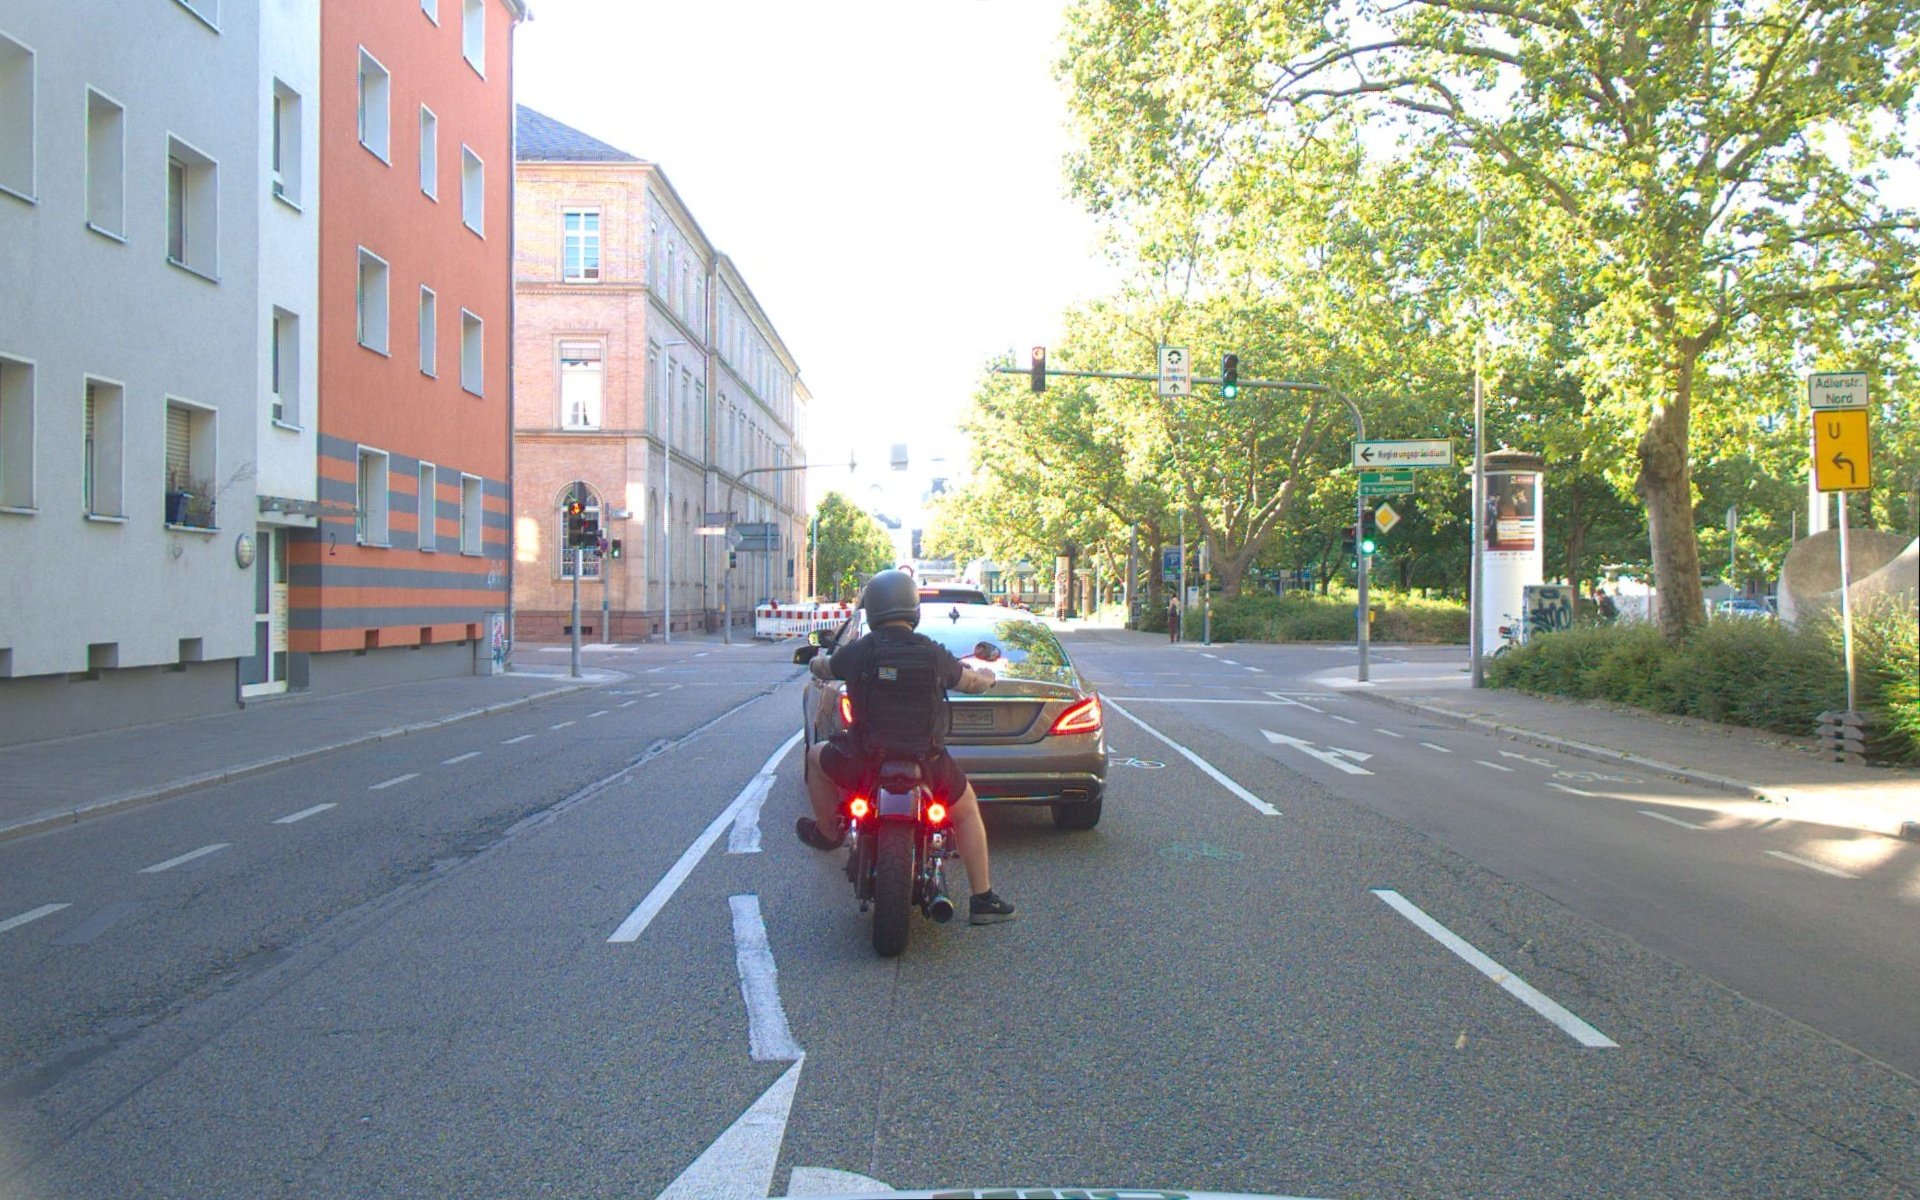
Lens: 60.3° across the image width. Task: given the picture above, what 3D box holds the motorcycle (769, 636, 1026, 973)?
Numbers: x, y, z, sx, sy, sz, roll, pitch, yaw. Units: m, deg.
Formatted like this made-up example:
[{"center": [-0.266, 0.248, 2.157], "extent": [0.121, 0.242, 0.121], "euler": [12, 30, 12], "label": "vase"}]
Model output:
[{"center": [-0.259, 0.821, 7.716], "extent": [0.987, 1.225, 2.664], "euler": [0, 0, -1], "label": "motorcycle"}]

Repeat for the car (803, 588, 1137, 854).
[{"center": [-0.132, 0.685, 11.651], "extent": [1.787, 1.502, 4.346], "euler": [0, 0, -7], "label": "car"}]

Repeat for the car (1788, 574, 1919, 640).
[{"center": [25.758, 0.182, 46.586], "extent": [3.912, 1.815, 2.001], "euler": [0, 0, 4], "label": "car"}]

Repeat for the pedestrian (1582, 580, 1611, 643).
[{"center": [18.645, 0.332, 48.426], "extent": [0.607, 1.815, 0.630], "euler": [0, 0, 1], "label": "pedestrian"}]

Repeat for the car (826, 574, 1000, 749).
[{"center": [-0.512, 0.580, 17.603], "extent": [1.647, 1.653, 3.839], "euler": [0, 0, -2], "label": "car"}]

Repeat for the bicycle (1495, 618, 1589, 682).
[{"center": [9.698, 0.832, 27.592], "extent": [1.387, 1.055, 0.538], "euler": [0, 0, -5], "label": "bicycle"}]

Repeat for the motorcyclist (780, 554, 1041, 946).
[{"center": [-0.216, 0.627, 7.544], "extent": [1.090, 1.641, 1.202], "euler": [0, 0, -1], "label": "motorcyclist"}]

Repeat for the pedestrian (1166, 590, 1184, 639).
[{"center": [7.497, 0.494, 57.759], "extent": [0.548, 1.707, 0.564], "euler": [0, 0, -1], "label": "pedestrian"}]
